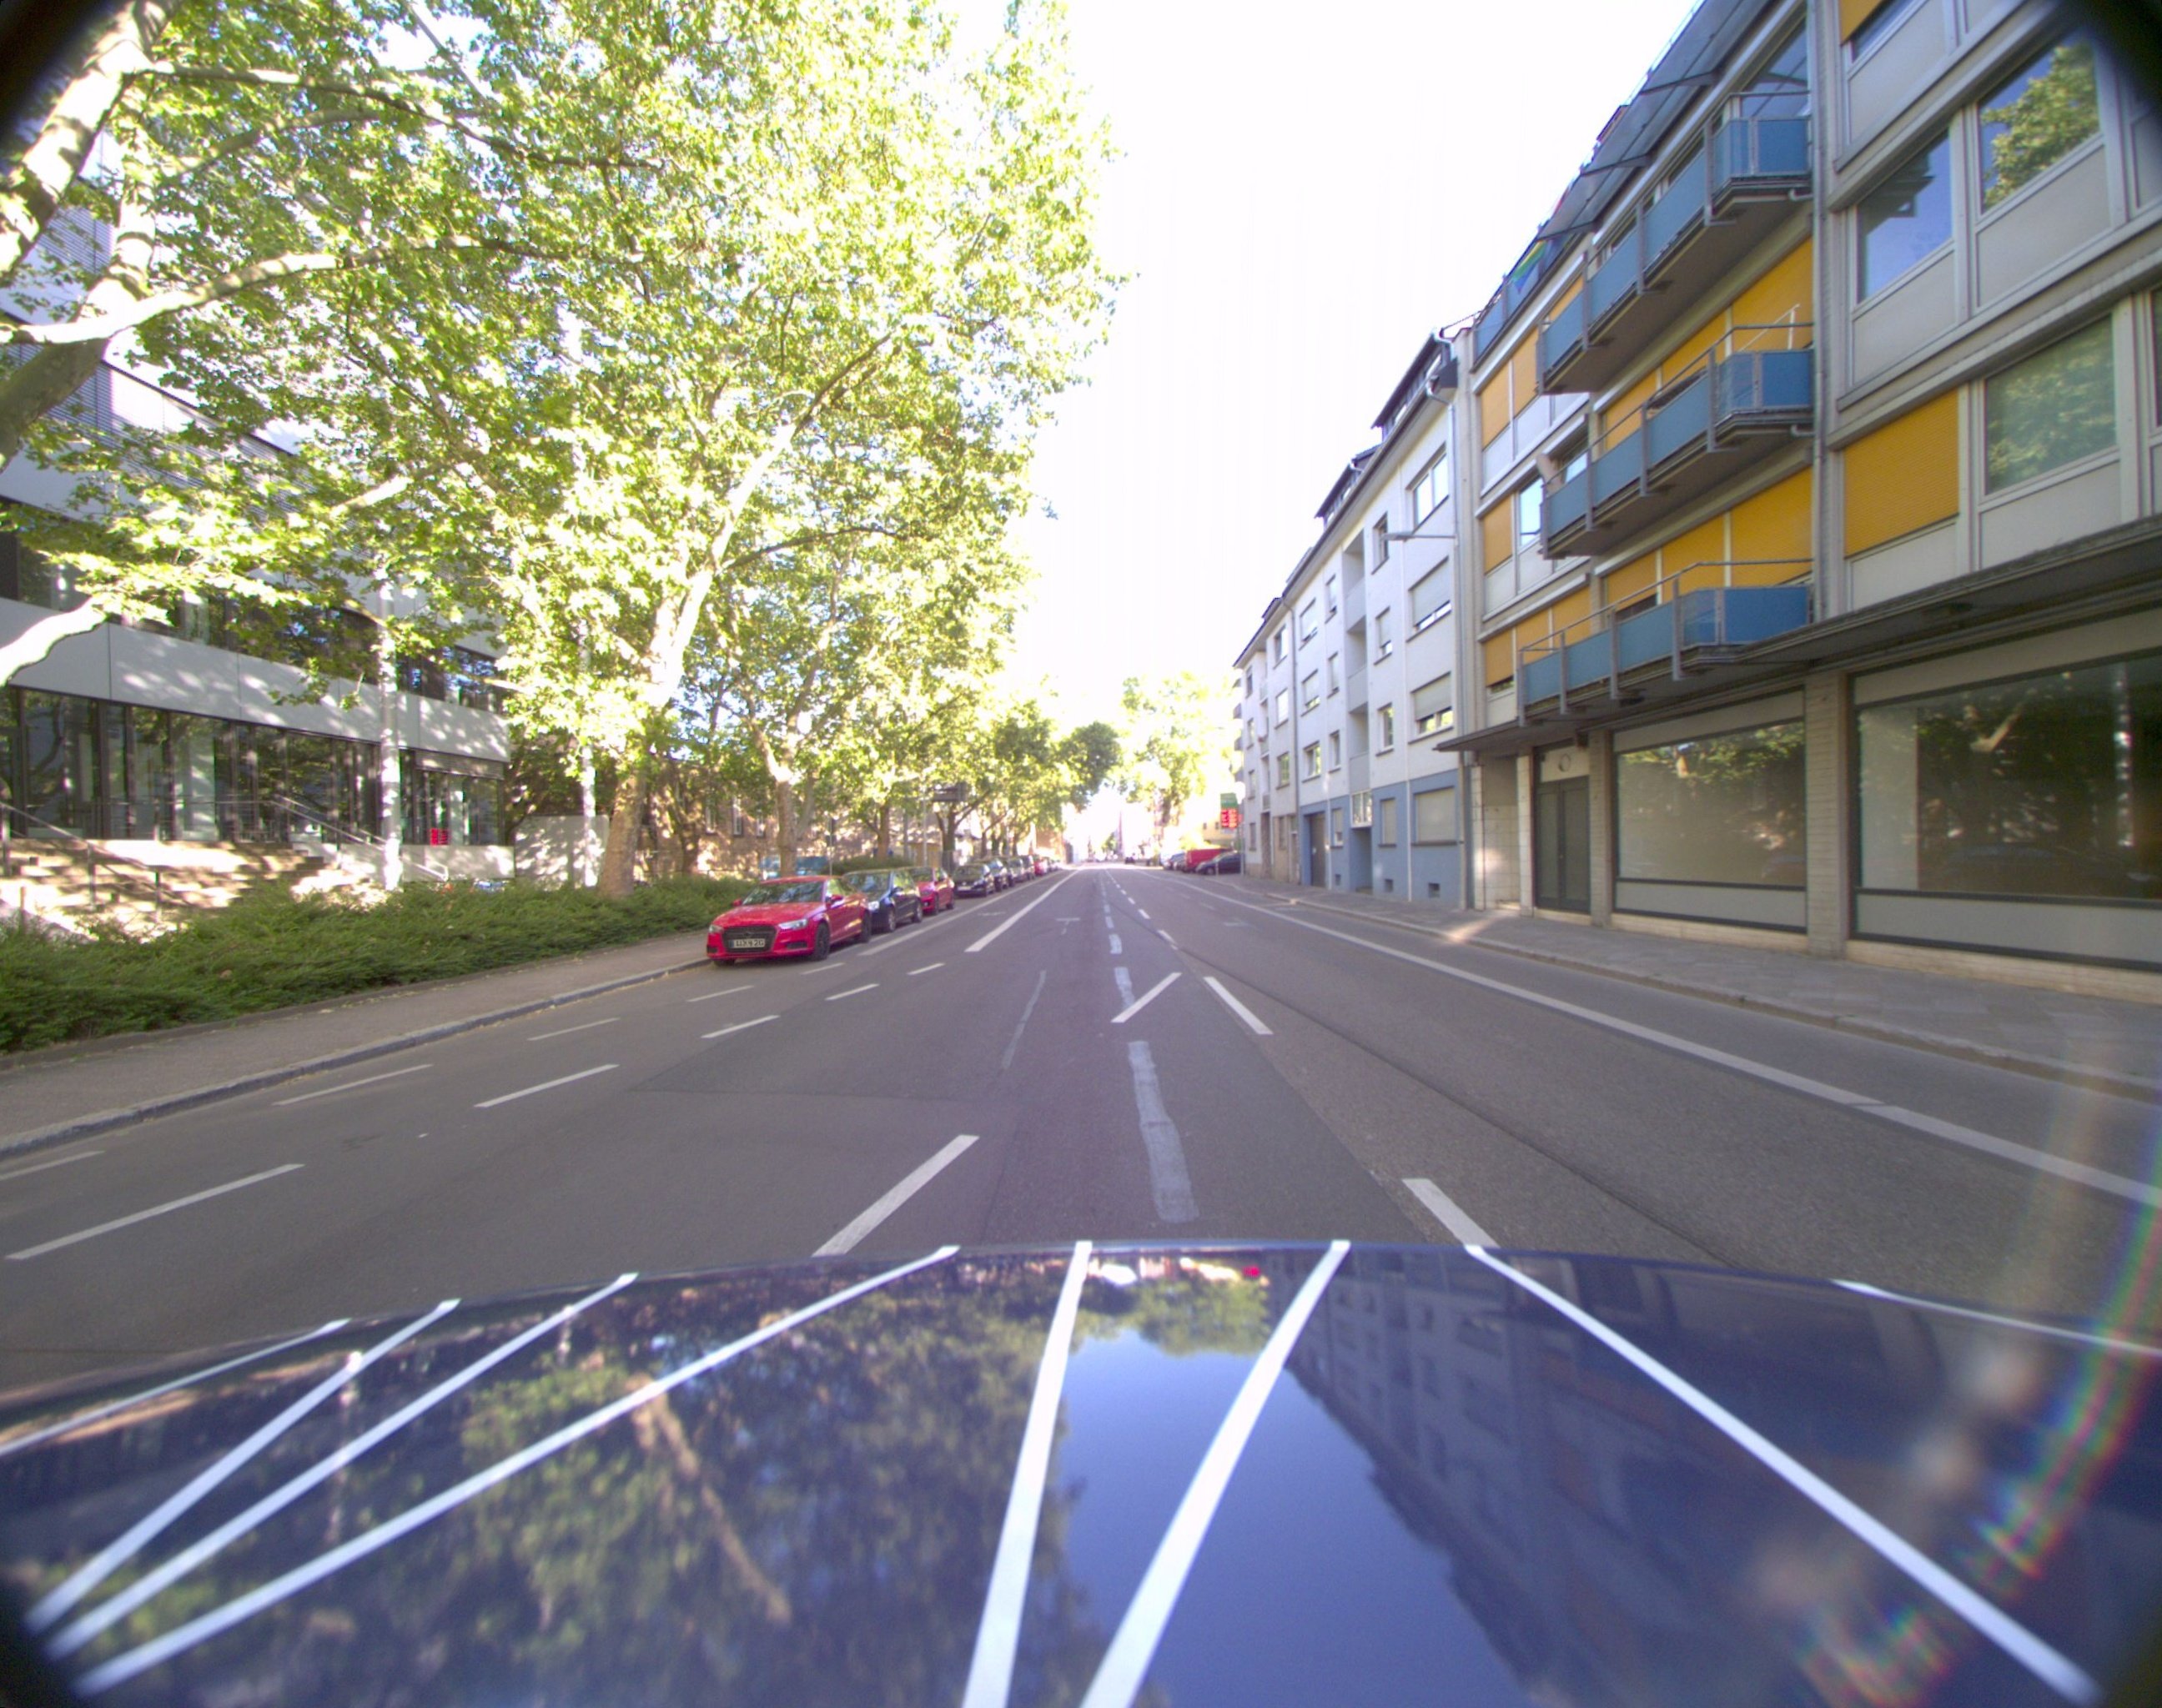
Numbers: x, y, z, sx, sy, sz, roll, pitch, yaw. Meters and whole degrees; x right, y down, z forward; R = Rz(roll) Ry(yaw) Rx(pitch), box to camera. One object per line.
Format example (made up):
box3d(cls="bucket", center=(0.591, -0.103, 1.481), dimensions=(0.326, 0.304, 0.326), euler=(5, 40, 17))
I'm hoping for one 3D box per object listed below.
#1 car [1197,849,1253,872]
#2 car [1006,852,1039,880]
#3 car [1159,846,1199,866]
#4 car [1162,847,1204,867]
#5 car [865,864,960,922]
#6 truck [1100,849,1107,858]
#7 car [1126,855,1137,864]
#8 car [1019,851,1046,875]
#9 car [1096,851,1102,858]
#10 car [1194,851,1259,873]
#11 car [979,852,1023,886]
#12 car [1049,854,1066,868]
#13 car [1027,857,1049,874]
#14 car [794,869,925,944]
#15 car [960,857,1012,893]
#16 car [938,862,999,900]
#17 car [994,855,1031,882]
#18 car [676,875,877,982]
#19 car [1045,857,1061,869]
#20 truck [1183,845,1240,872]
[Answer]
box3d(cls="car", center=(10.794, 0.456, 57.105), dimensions=(3.810, 1.563, 1.658), euler=(-2, 1, 0))
box3d(cls="car", center=(-4.251, 0.846, 55.590), dimensions=(1.998, 1.838, 3.999), euler=(-2, 1, 1))
box3d(cls="car", center=(10.942, 0.224, 85.304), dimensions=(4.236, 2.025, 2.000), euler=(-2, 1, 3))
box3d(cls="car", center=(10.856, 0.290, 80.903), dimensions=(4.236, 1.945, 2.000), euler=(-2, 1, 3))
box3d(cls="car", center=(-5.135, 1.150, 23.662), dimensions=(1.998, 1.490, 3.828), euler=(-2, 1, 1))
box3d(cls="truck", center=(6.867, -0.287, 233.813), dimensions=(1.998, 2.653, 5.314), euler=(-2, 1, 0))
box3d(cls="car", center=(9.643, 1.009, 144.386), dimensions=(1.846, 1.668, 4.002), euler=(-2, 1, 8))
box3d(cls="car", center=(-4.230, 0.764, 66.368), dimensions=(1.998, 1.960, 3.999), euler=(-2, 1, 1))
box3d(cls="car", center=(6.154, 0.200, 259.445), dimensions=(1.998, 2.002, 3.999), euler=(-2, 1, 1))
box3d(cls="car", center=(10.449, 0.578, 54.773), dimensions=(4.324, 1.398, 1.658), euler=(-2, 1, 0))
box3d(cls="car", center=(-4.614, 0.840, 44.506), dimensions=(1.998, 1.777, 4.572), euler=(-2, 1, 1))
box3d(cls="car", center=(-3.193, 0.910, 102.998), dimensions=(1.998, 1.682, 3.999), euler=(-2, 1, 1))
box3d(cls="car", center=(-4.044, 1.084, 71.987), dimensions=(1.824, 1.466, 3.999), euler=(-2, 1, 1))
box3d(cls="car", center=(-5.179, 1.169, 18.341), dimensions=(1.998, 1.452, 3.644), euler=(-2, 1, 1))
box3d(cls="car", center=(-4.691, 1.007, 38.113), dimensions=(1.998, 1.592, 4.142), euler=(-2, 1, 1))
box3d(cls="car", center=(-4.845, 1.131, 33.169), dimensions=(1.998, 1.447, 3.589), euler=(-2, 1, 1))
box3d(cls="car", center=(-4.549, 0.936, 50.899), dimensions=(1.998, 1.557, 4.142), euler=(-2, 1, 1))
box3d(cls="car", center=(-5.194, 1.197, 13.628), dimensions=(1.907, 1.417, 3.999), euler=(-2, 1, 1))
box3d(cls="car", center=(-3.355, 1.073, 92.727), dimensions=(1.693, 1.364, 3.999), euler=(-2, 1, 1))
box3d(cls="truck", center=(10.280, 0.326, 60.203), dimensions=(4.092, 1.913, 2.000), euler=(-2, 1, 0))
